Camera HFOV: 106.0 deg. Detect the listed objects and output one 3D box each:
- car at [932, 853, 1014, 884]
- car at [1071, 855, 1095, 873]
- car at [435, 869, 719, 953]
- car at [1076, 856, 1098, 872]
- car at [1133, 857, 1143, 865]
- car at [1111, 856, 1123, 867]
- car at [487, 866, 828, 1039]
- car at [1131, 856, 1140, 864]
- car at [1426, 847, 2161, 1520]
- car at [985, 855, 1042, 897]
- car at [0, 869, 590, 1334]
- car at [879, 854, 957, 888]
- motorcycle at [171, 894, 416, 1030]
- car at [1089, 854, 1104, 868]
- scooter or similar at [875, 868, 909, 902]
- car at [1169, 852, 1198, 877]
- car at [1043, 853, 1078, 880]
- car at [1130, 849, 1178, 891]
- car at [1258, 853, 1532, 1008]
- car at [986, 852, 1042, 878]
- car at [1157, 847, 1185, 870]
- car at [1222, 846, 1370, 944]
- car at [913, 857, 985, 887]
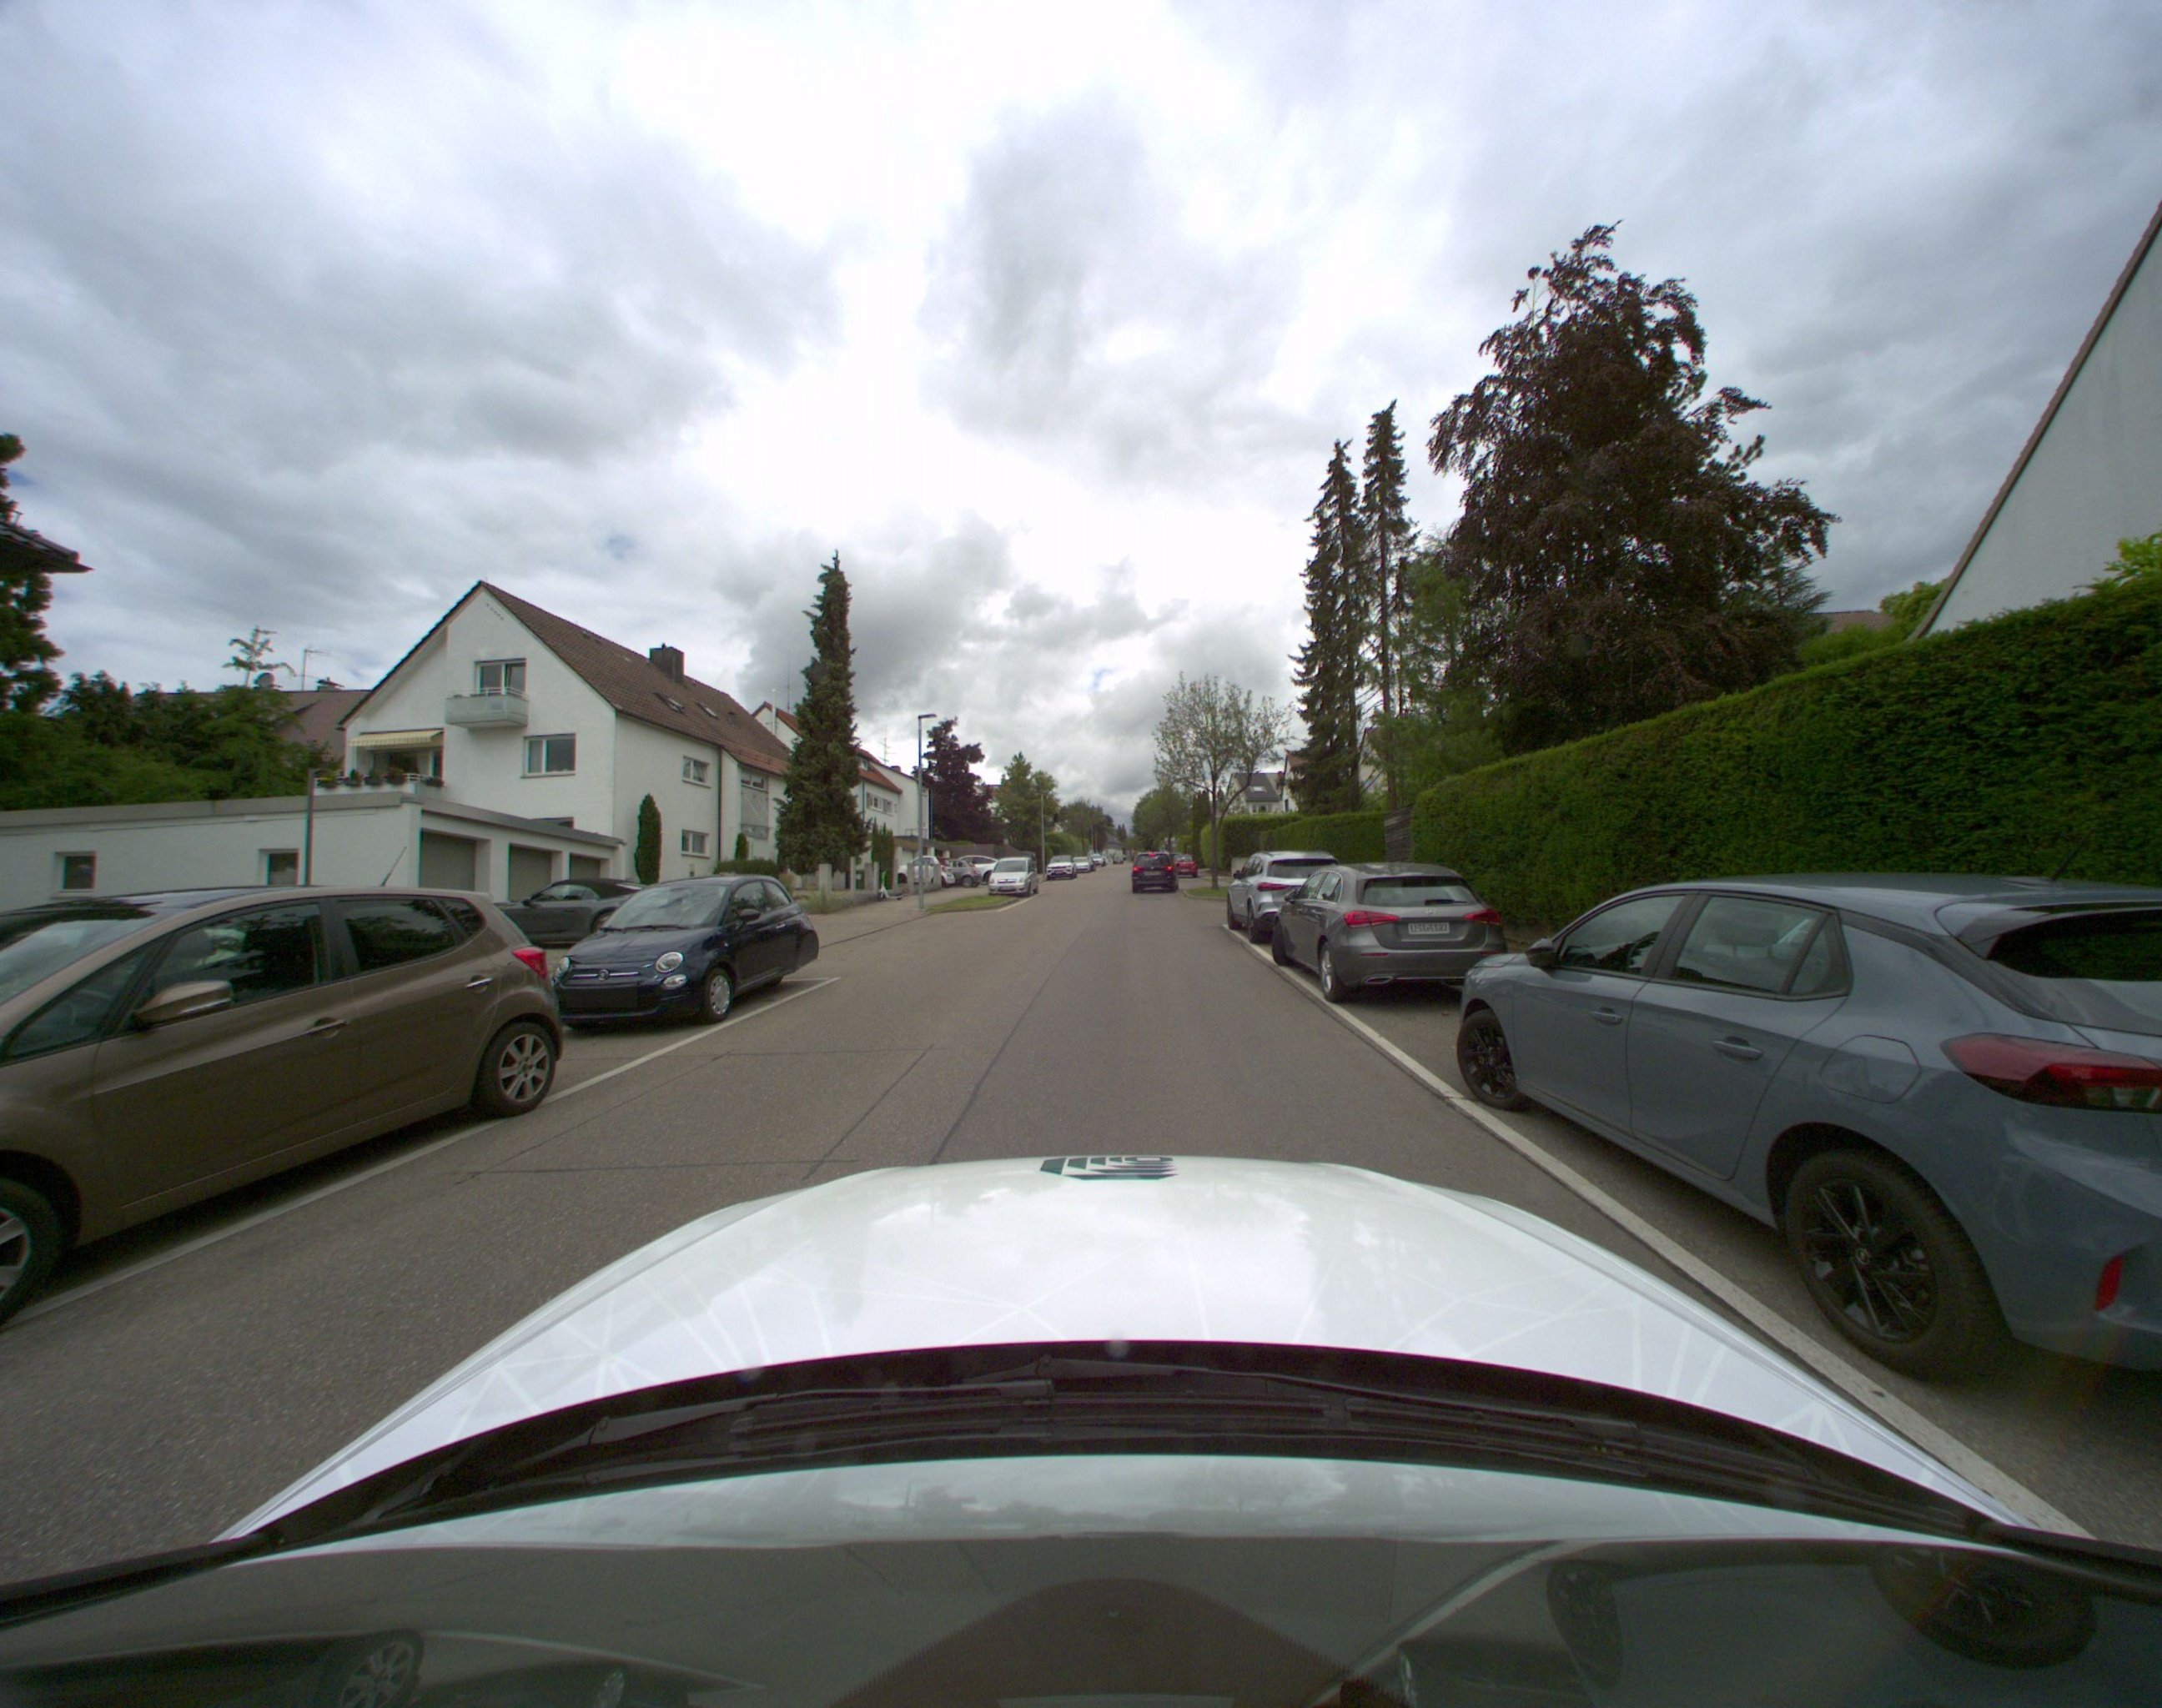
[{"bbox_3d":[-6.159,0.807,46.770,4.393,1.629,1.912,1,0,3],"label":"car"},{"bbox_3d":[0.202,0.883,74.183,1.829,1.422,4.412,-3,0,3],"label":"car"},{"bbox_3d":[-9.657,1.060,15.893,4.274,1.367,1.903,-2,0,-2],"label":"car"},{"bbox_3d":[0.619,0.968,79.031,1.719,1.423,4.084,-3,-1,4],"label":"car"},{"bbox_3d":[12.114,1.476,173.241,1.659,1.501,3.467,-1,0,0],"label":"car"},{"bbox_3d":[6.244,1.292,139.875,1.877,1.851,4.406,-3,0,4],"label":"car"},{"bbox_3d":[-4.544,0.959,9.414,1.869,1.536,3.511,-2,0,4],"label":"car"},{"bbox_3d":[12.125,1.397,180.440,1.659,1.668,3.467,-1,0,0],"label":"car"},{"bbox_3d":[3.308,0.723,3.764,1.848,1.464,4.002,-1,-1,2],"label":"car"},{"bbox_3d":[-2.735,0.875,33.767,1.753,1.563,3.859,-3,0,4],"label":"car"},{"bbox_3d":[-4.658,0.926,4.018,1.869,1.585,3.876,-2,0,4],"label":"car"},{"bbox_3d":[-7.956,0.837,39.954,3.413,1.578,1.659,1,-1,5],"label":"car"},{"bbox_3d":[-7.913,1.032,8.316,0.426,1.161,1.868,-3,-2,12],"label":"motorcycle"},{"bbox_3d":[1.908,0.841,98.650,1.716,1.540,4.002,-3,0,2],"label":"car"},{"bbox_3d":[-6.740,1.090,29.120,0.470,1.148,1.462,0,0,20],"label":"scooter or similar"},{"bbox_3d":[6.628,0.654,52.786,1.653,1.508,3.762,-2,0,4],"label":"car"},{"bbox_3d":[-1.375,0.803,55.586,1.829,1.666,4.414,-3,0,5],"label":"car"},{"bbox_3d":[3.043,0.649,34.023,1.839,1.611,4.317,-1,-1,5],"label":"car"},{"bbox_3d":[3.471,0.751,9.916,1.848,1.464,4.174,-1,-1,2],"label":"car"},{"bbox_3d":[-5.447,0.905,66.507,4.045,1.950,2.006,-2,-2,12],"label":"car"},{"bbox_3d":[6.872,0.347,62.479,1.984,1.618,4.519,0,0,5],"label":"car"},{"bbox_3d":[3.896,0.691,15.517,1.848,1.582,4.174,-1,-1,2],"label":"car"},{"bbox_3d":[-6.953,0.935,42.988,3.413,1.512,1.694,1,-1,5],"label":"car"}]
